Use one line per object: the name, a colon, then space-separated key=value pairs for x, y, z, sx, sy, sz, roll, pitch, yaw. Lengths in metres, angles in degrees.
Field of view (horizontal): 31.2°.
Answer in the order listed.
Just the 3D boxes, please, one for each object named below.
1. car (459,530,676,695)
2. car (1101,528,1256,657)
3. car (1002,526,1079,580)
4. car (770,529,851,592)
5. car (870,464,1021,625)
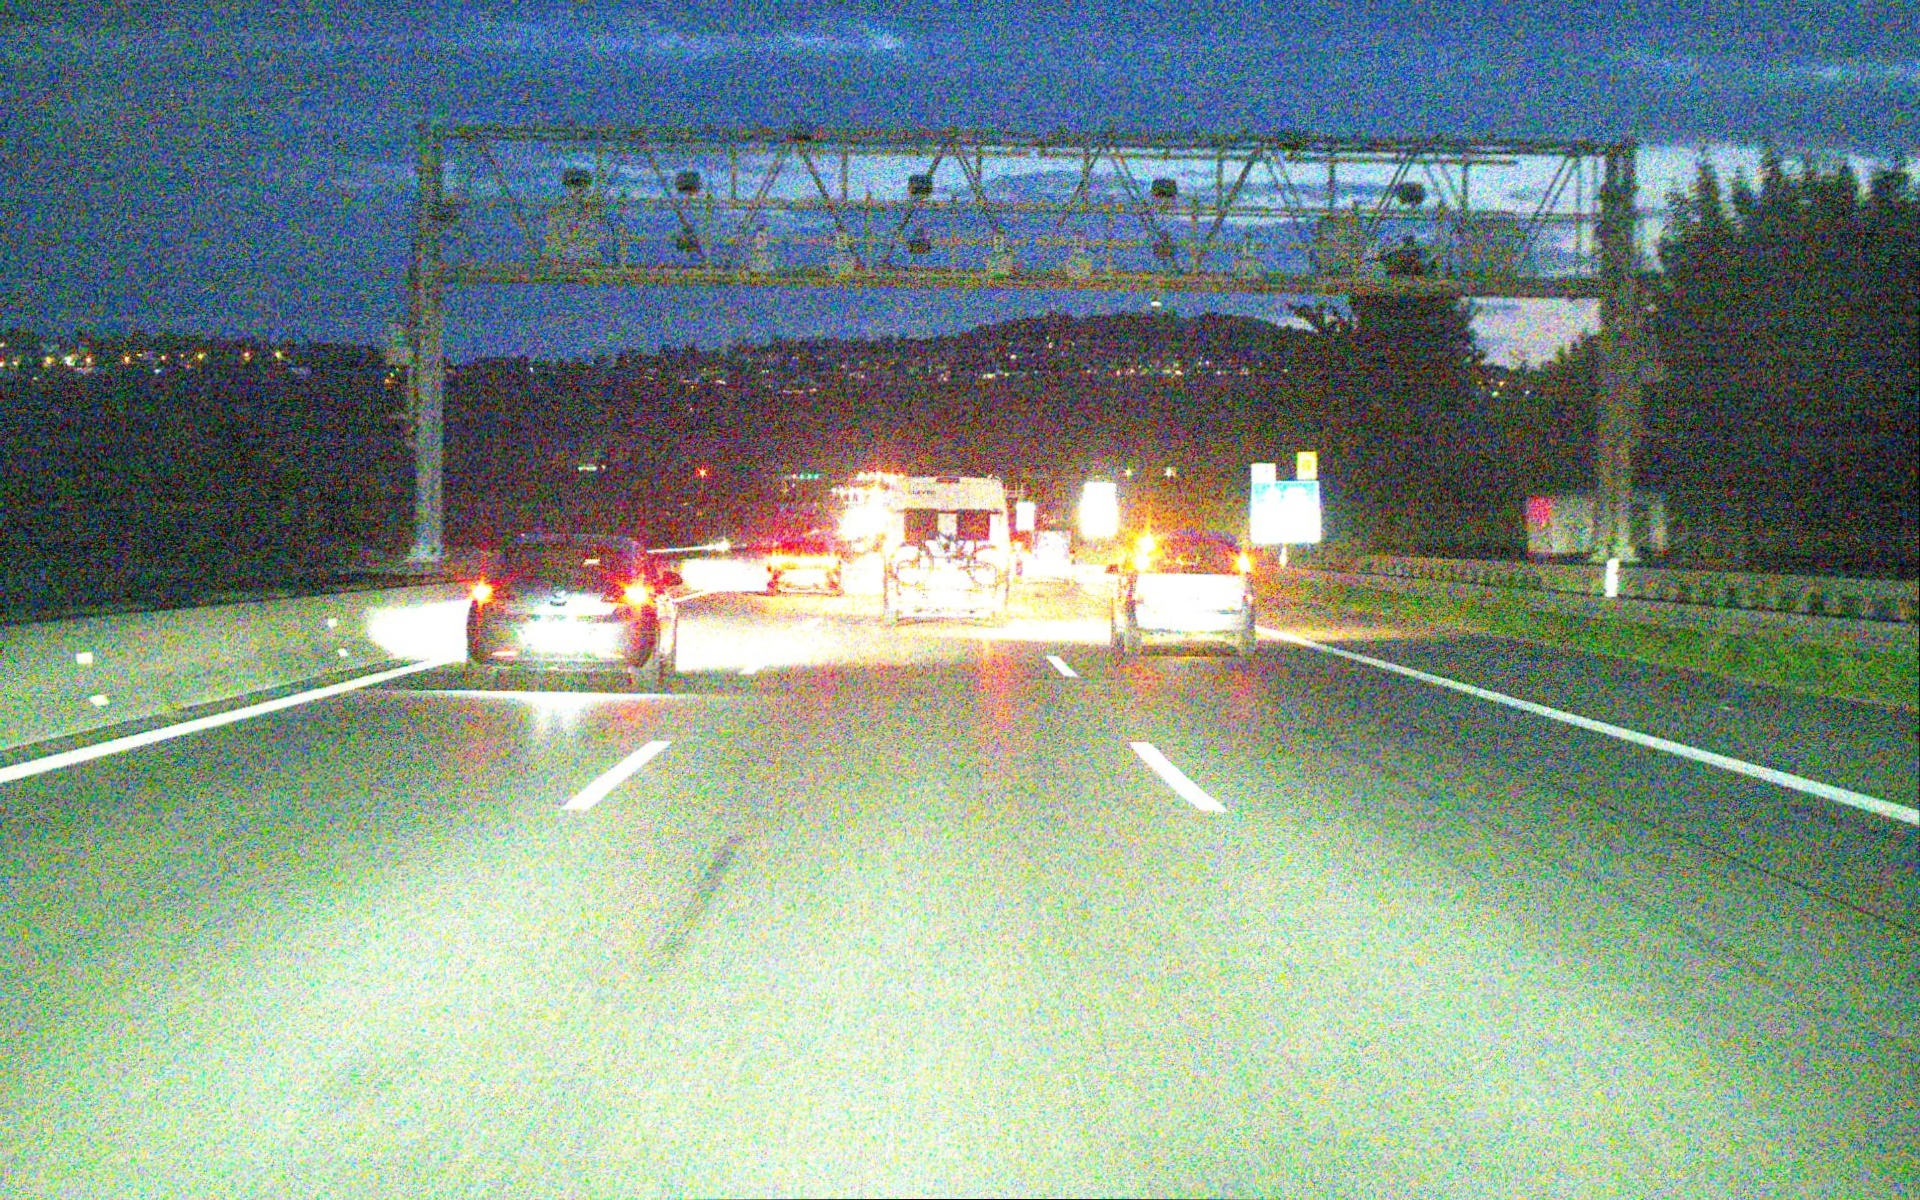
car: x=-3.745 y=0.080 z=33.323 sx=1.793 sy=1.464 sz=3.773 roll=1 pitch=1 yaw=-2
car: x=2.830 y=-0.127 z=45.390 sx=1.646 sy=1.591 sz=4.510 roll=1 pitch=1 yaw=-1
car: x=2.393 y=-1.405 z=102.790 sx=2.163 sy=1.558 sz=4.723 roll=0 pitch=1 yaw=0
car: x=-3.527 y=-0.954 z=81.603 sx=1.744 sy=1.435 sz=4.368 roll=0 pitch=1 yaw=0
car: x=-0.235 y=-0.941 z=56.834 sx=2.351 sy=2.526 sz=5.701 roll=0 pitch=1 yaw=0
